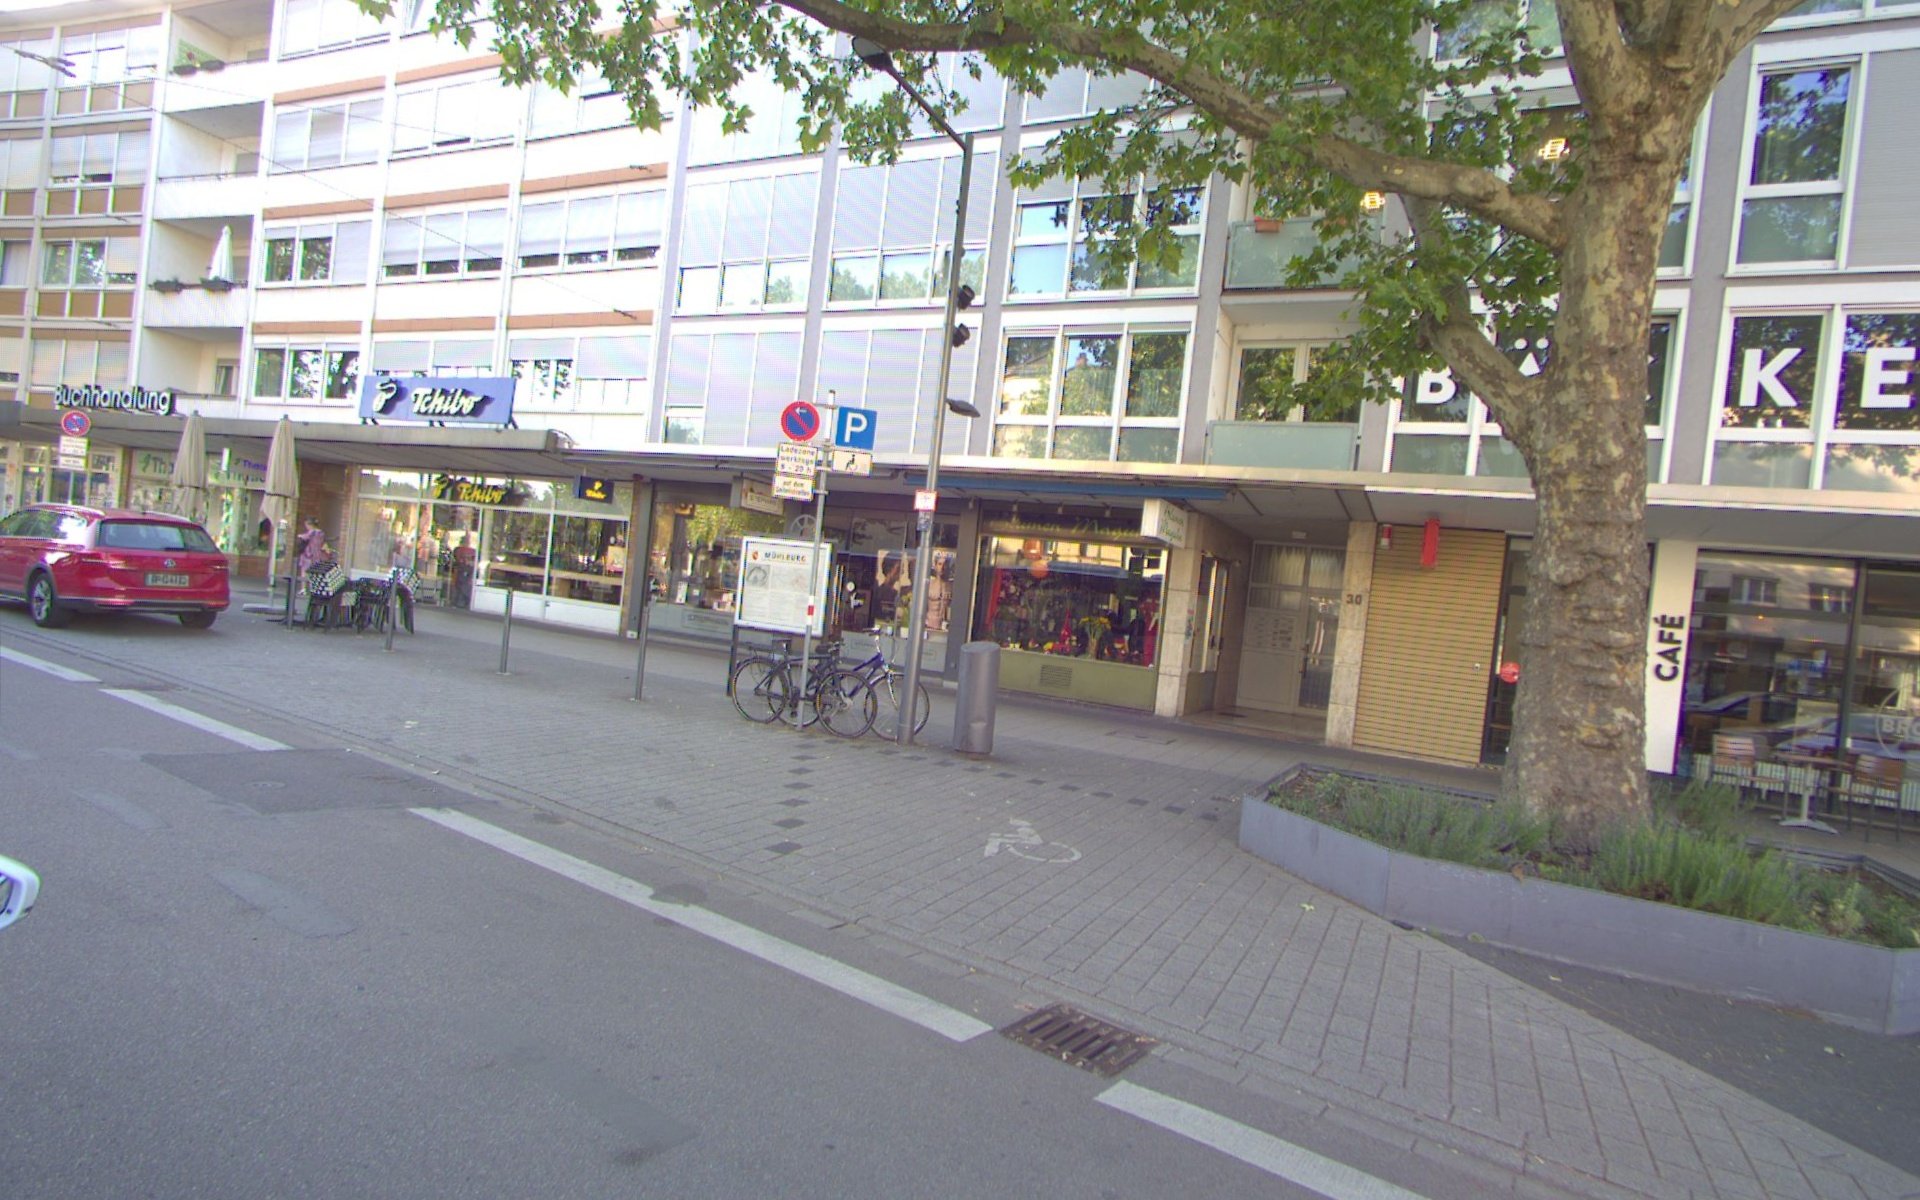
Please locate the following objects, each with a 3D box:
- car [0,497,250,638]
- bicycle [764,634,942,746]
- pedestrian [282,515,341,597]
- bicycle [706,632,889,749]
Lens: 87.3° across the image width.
[{"bbox_3d":[-11.649,-0.493,13.443,4.229,1.502,1.772,6,1,28],"label":"car"},{"bbox_3d":[-1.125,0.926,10.559,1.743,0.931,0.391,6,2,12],"label":"bicycle"},{"bbox_3d":[-13.564,-0.907,21.058,0.776,1.613,0.651,7,3,26],"label":"pedestrian"},{"bbox_3d":[-1.651,0.898,10.242,1.743,0.951,0.391,6,2,12],"label":"bicycle"}]
